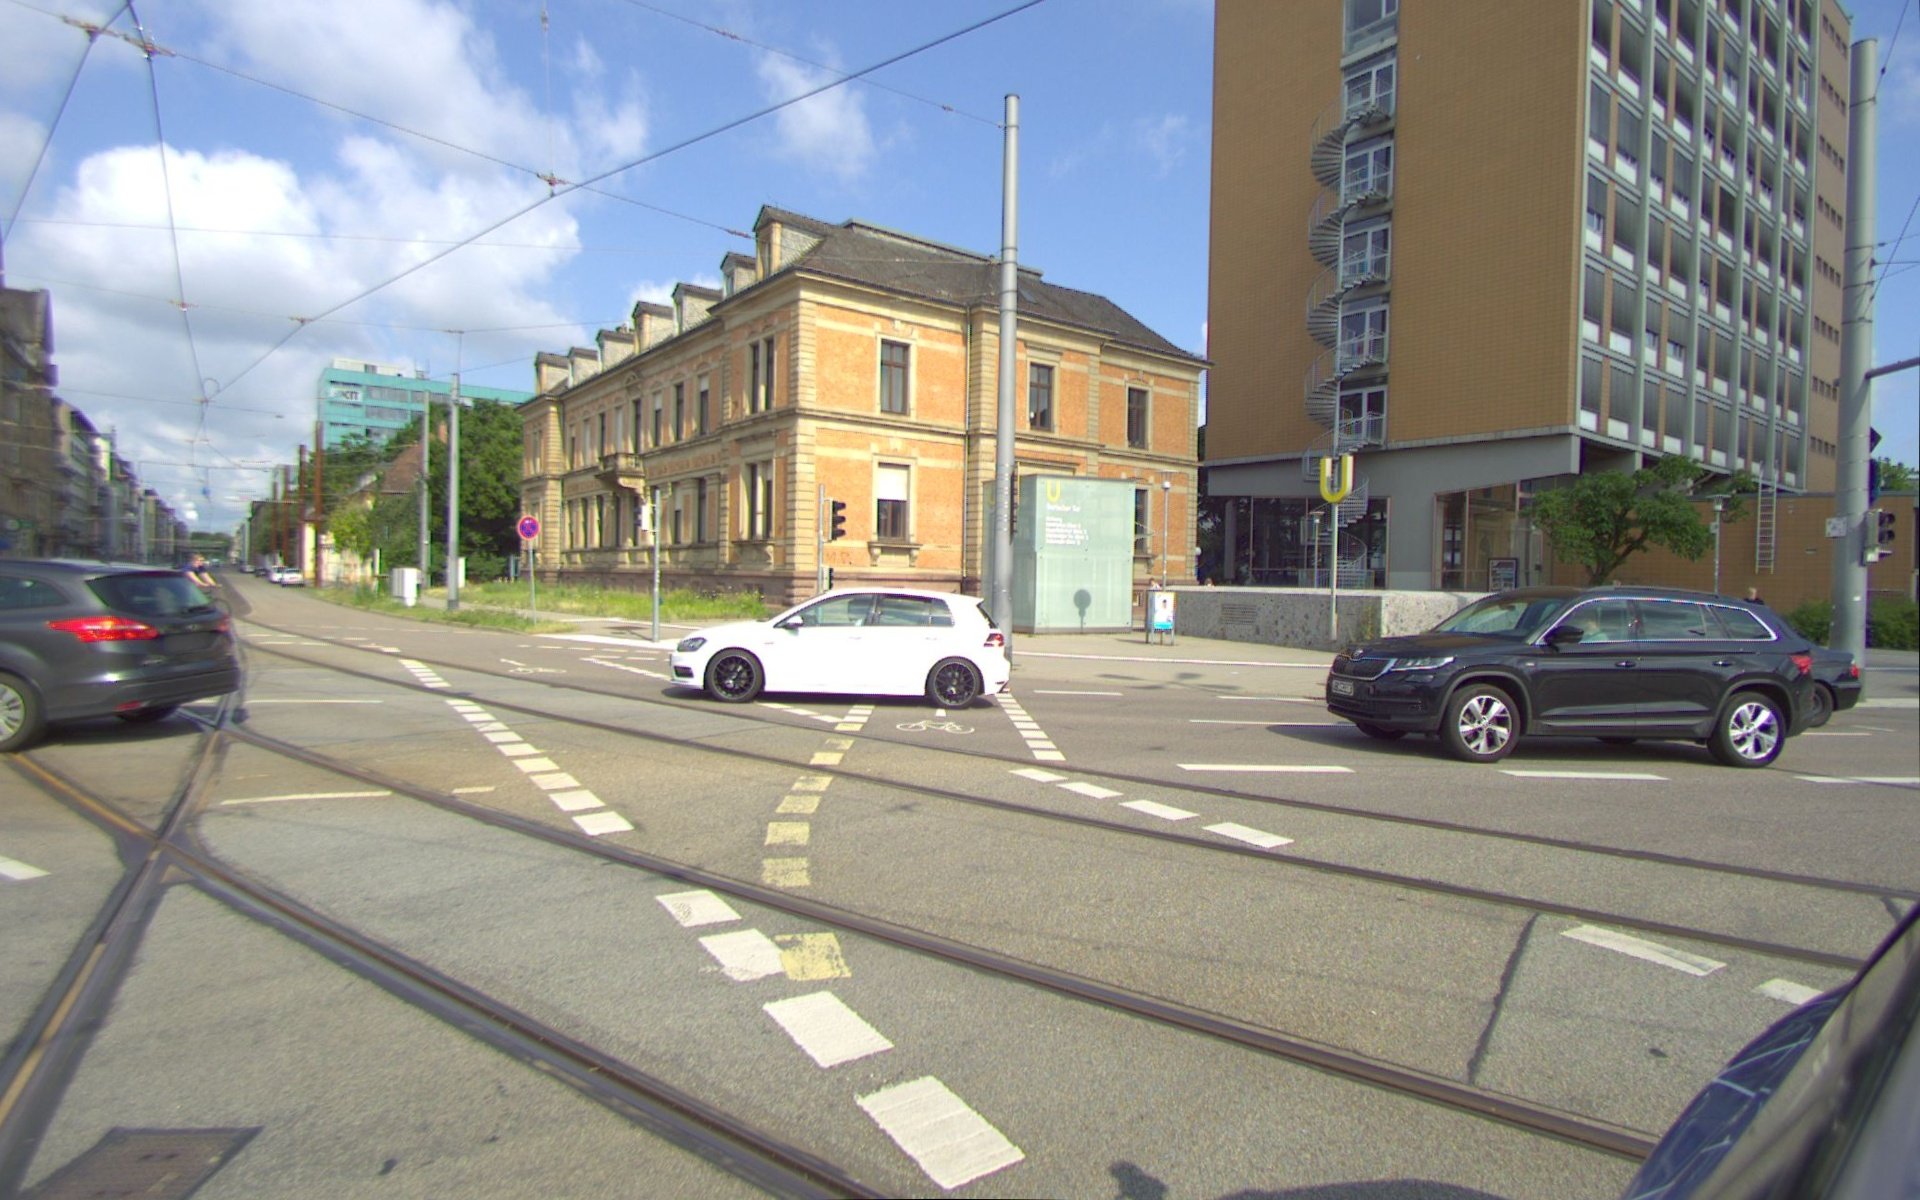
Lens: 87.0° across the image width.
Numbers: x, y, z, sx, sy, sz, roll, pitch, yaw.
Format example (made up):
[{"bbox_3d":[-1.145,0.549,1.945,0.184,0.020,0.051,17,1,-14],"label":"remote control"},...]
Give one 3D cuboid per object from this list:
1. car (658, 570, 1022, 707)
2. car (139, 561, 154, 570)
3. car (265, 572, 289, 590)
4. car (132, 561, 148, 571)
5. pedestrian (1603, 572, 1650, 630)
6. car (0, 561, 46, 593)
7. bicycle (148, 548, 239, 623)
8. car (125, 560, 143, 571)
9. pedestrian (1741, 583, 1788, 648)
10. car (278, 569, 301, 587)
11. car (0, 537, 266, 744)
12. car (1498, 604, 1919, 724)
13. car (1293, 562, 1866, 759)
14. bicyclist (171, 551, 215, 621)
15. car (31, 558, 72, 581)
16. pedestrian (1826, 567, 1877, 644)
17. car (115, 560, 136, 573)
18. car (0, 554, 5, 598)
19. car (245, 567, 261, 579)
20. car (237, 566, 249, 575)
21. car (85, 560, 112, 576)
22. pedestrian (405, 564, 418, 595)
[{"bbox_3d":[-1.451,0.458,12.577,4.146,1.464,1.686,2,0,-6],"label":"car"},{"bbox_3d":[-139.117,-5.925,173.117,1.817,1.557,3.822,0,1,-36],"label":"car"},{"bbox_3d":[-70.819,-1.982,104.923,1.879,1.792,3.999,1,0,-36],"label":"car"},{"bbox_3d":[-128.282,-5.360,158.322,1.817,1.557,3.821,0,1,-36],"label":"car"},{"bbox_3d":[19.860,0.020,30.171,0.928,1.606,0.760,4,6,23],"label":"pedestrian"},{"bbox_3d":[-51.904,-1.298,55.810,1.817,1.682,3.999,-1,2,-36],"label":"car"},{"bbox_3d":[-18.810,-0.372,24.871,1.603,1.799,0.733,0,1,-11],"label":"bicycle"},{"bbox_3d":[-119.482,-4.948,146.398,1.817,1.557,3.821,0,1,-36],"label":"car"},{"bbox_3d":[20.426,0.381,25.691,0.751,1.608,0.772,0,1,-40],"label":"pedestrian"},{"bbox_3d":[-60.039,-1.935,90.603,1.722,1.549,4.001,1,0,-34],"label":"car"},{"bbox_3d":[-8.423,0.279,8.307,4.169,1.547,1.775,0,1,-6],"label":"car"},{"bbox_3d":[9.973,0.812,13.623,4.418,1.416,2.002,1,0,-5],"label":"car"},{"bbox_3d":[5.969,0.569,10.073,4.588,1.689,2.002,1,-1,-7],"label":"car"},{"bbox_3d":[-18.873,-0.353,24.914,0.642,1.691,0.575,0,1,-11],"label":"bicyclist"},{"bbox_3d":[-65.258,-2.192,72.727,1.817,1.557,3.821,0,1,-36],"label":"car"},{"bbox_3d":[24.614,0.130,27.962,0.801,2.037,0.718,3,6,30],"label":"pedestrian"},{"bbox_3d":[-105.413,-4.265,127.899,1.817,1.557,3.821,0,1,-36],"label":"car"},{"bbox_3d":[-35.364,-0.753,35.452,1.962,1.614,4.689,-1,4,-34],"label":"car"},{"bbox_3d":[-104.255,-3.933,149.176,1.879,1.625,3.999,1,0,-36],"label":"car"},{"bbox_3d":[-146.348,-6.024,206.646,1.879,1.625,3.999,1,0,-36],"label":"car"},{"bbox_3d":[-88.411,-3.261,103.901,1.817,1.557,3.821,0,1,-36],"label":"car"},{"bbox_3d":[-27.598,-1.024,50.933,0.498,1.524,0.498,0,1,-42],"label":"pedestrian"}]
